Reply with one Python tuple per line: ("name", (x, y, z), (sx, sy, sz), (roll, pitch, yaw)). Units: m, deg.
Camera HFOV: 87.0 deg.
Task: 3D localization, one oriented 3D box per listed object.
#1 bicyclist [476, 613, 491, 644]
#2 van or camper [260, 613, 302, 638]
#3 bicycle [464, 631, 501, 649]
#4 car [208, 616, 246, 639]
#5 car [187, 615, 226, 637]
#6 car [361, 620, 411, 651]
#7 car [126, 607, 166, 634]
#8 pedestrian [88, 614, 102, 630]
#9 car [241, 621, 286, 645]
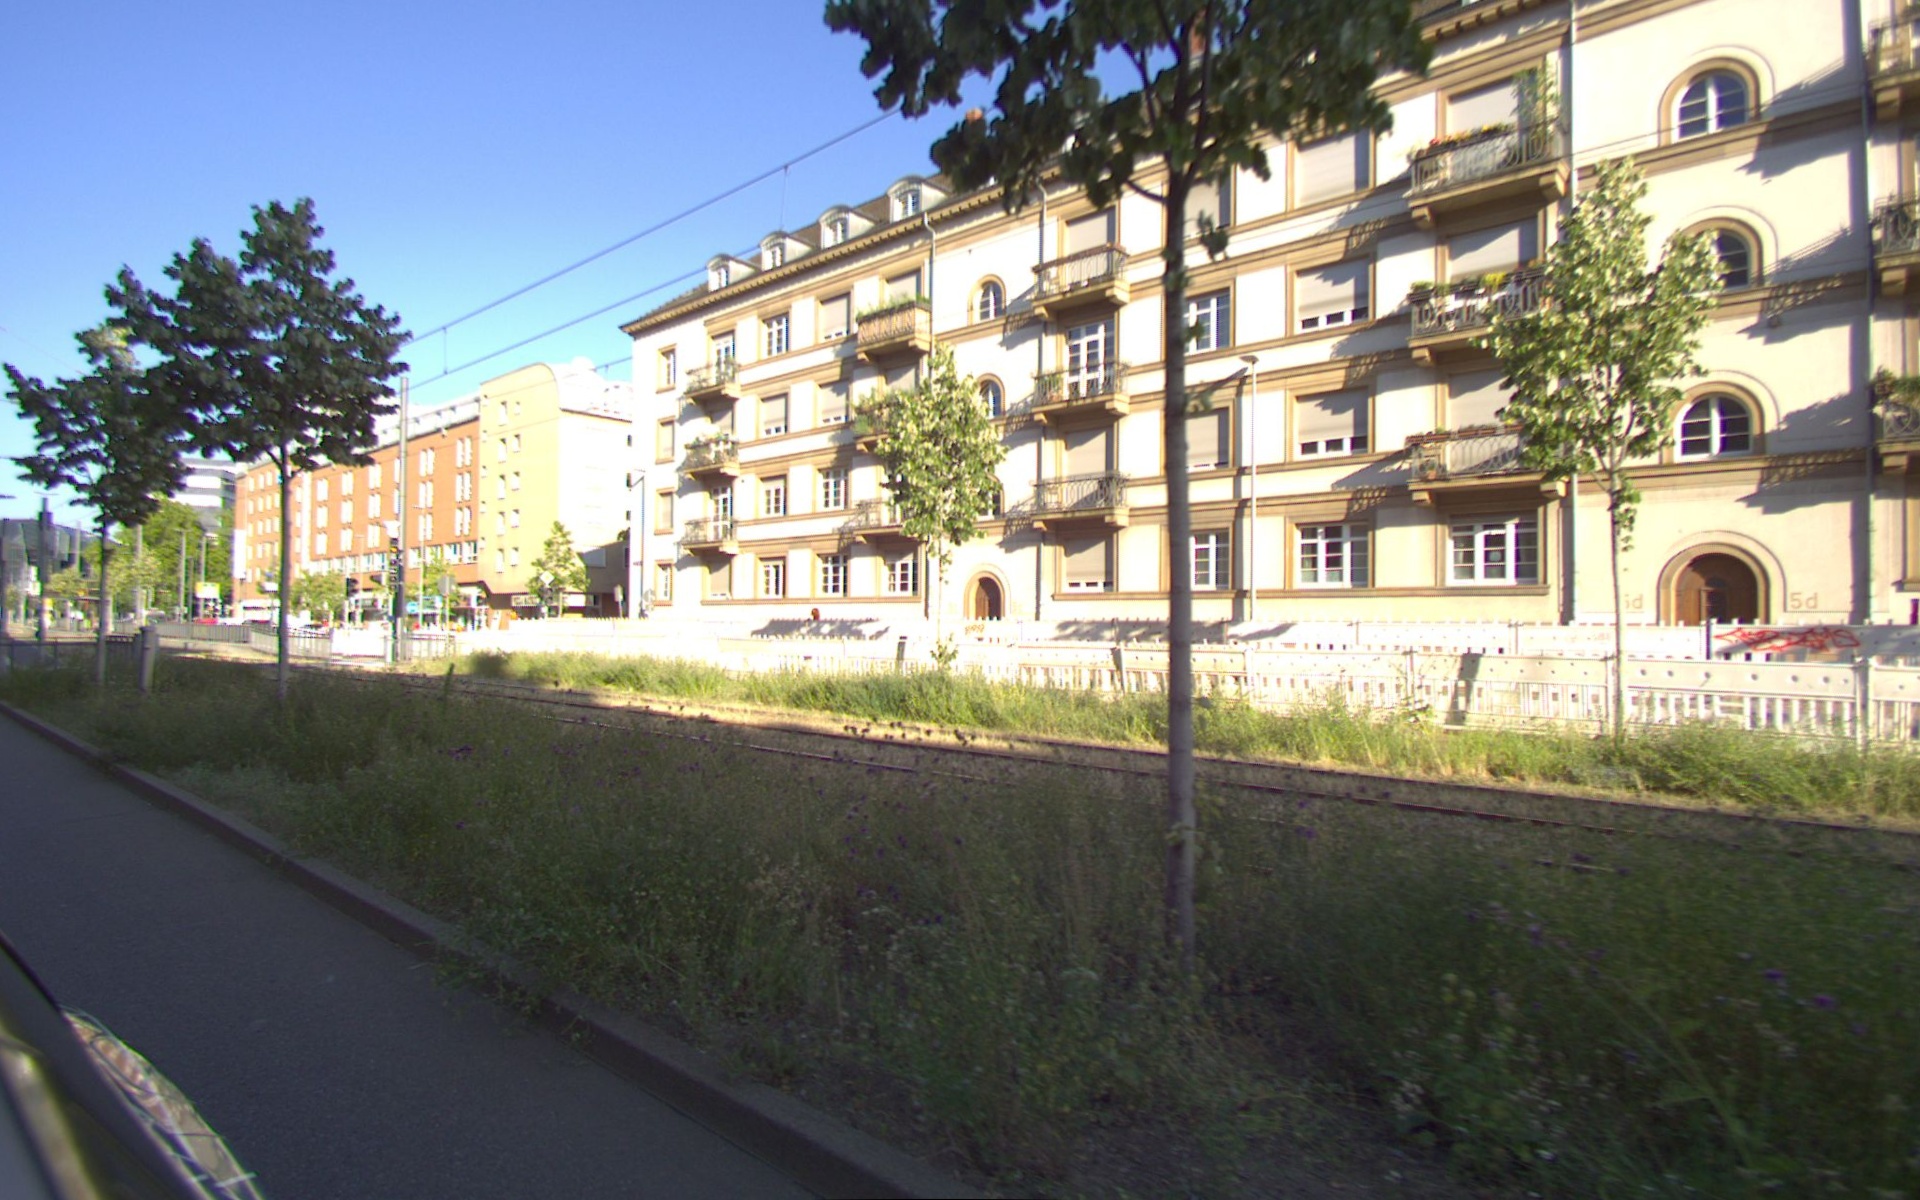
("bicyclist", (-26.386, 1.565, 56.003), (0.665, 1.693, 0.481), (-1, -2, 37))
("van or camper", (-61.732, 2.352, 92.015), (5.615, 2.186, 1.971), (-3, -4, 43))
("bicycle", (-26.403, 2.204, 55.968), (0.684, 0.955, 1.720), (-1, -2, 38))
("car", (-61.371, 2.314, 84.712), (4.317, 1.881, 1.865), (-2, -3, 44))
("car", (-67.112, 2.338, 90.063), (4.313, 1.881, 1.866), (-2, -3, 41))
("car", (-38.257, 2.361, 67.384), (1.969, 2.029, 4.151), (2, -3, -43))
("car", (-75.523, 1.890, 93.838), (4.917, 2.376, 2.024), (-1, -2, 41))
("pedestrian", (-66.256, 1.712, 77.543), (0.906, 1.199, 0.666), (-1, -2, 41))
("car", (-53.409, 2.492, 77.573), (1.971, 1.730, 4.944), (2, -2, -45))
